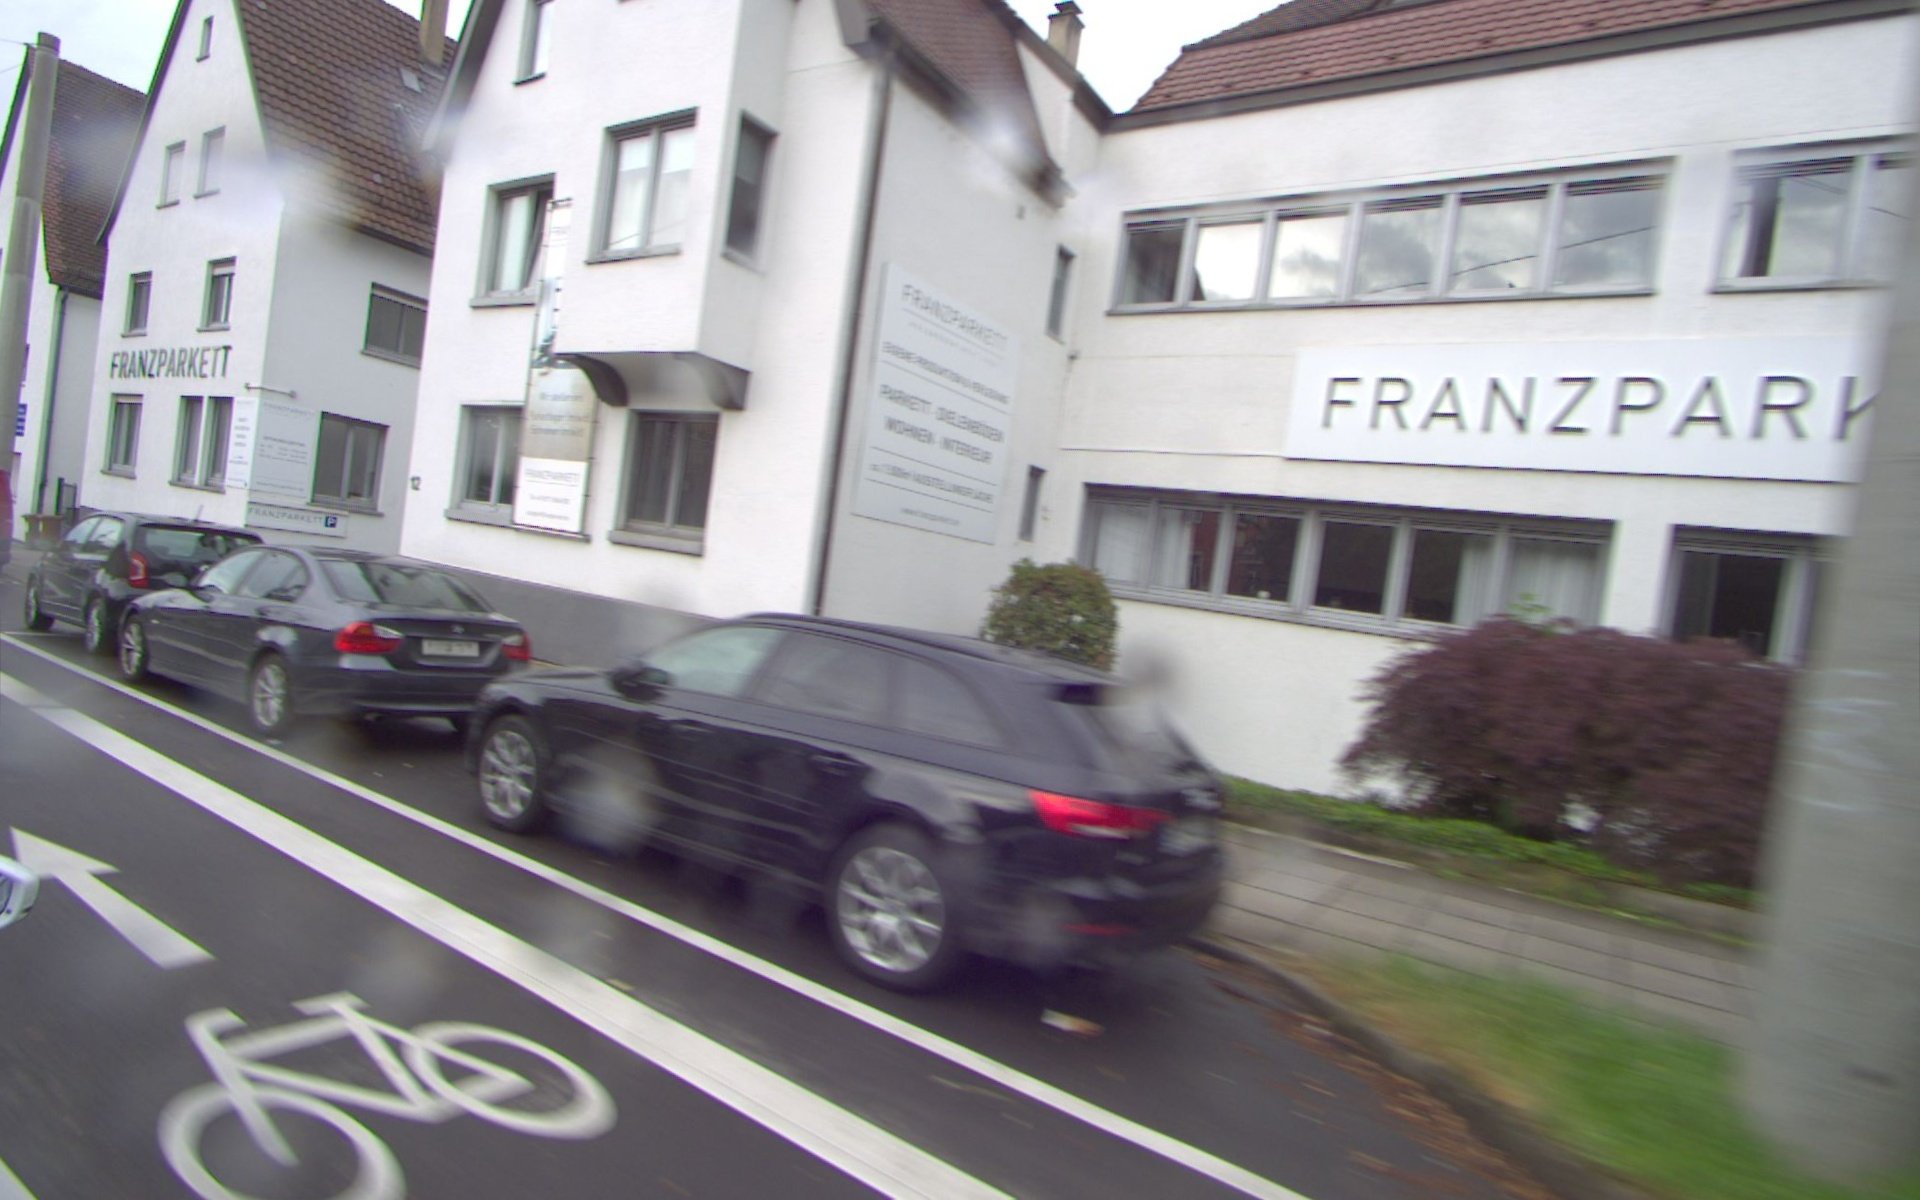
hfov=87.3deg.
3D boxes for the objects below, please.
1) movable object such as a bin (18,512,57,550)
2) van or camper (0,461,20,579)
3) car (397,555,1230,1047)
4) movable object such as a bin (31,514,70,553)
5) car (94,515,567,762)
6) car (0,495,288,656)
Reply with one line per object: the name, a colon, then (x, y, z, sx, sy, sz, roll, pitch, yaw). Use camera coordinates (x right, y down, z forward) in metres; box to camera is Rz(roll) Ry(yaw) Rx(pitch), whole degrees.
movable object such as a bin: (-23.634, -1.761, 25.783, 0.440, 0.890, 0.587, 7, 1, 32)
van or camper: (-18.398, -1.639, 17.460, 4.914, 1.944, 1.852, 7, 1, 33)
car: (-1.047, 0.740, 5.565, 4.492, 1.440, 1.678, 7, -1, 34)
movable object such as a bin: (-23.178, -1.693, 25.648, 0.440, 0.890, 0.587, 7, 1, 32)
car: (-5.562, 0.223, 8.673, 4.492, 1.429, 1.713, 7, 0, 34)
car: (-9.471, -0.314, 11.593, 3.662, 1.469, 1.578, 6, 0, 35)
